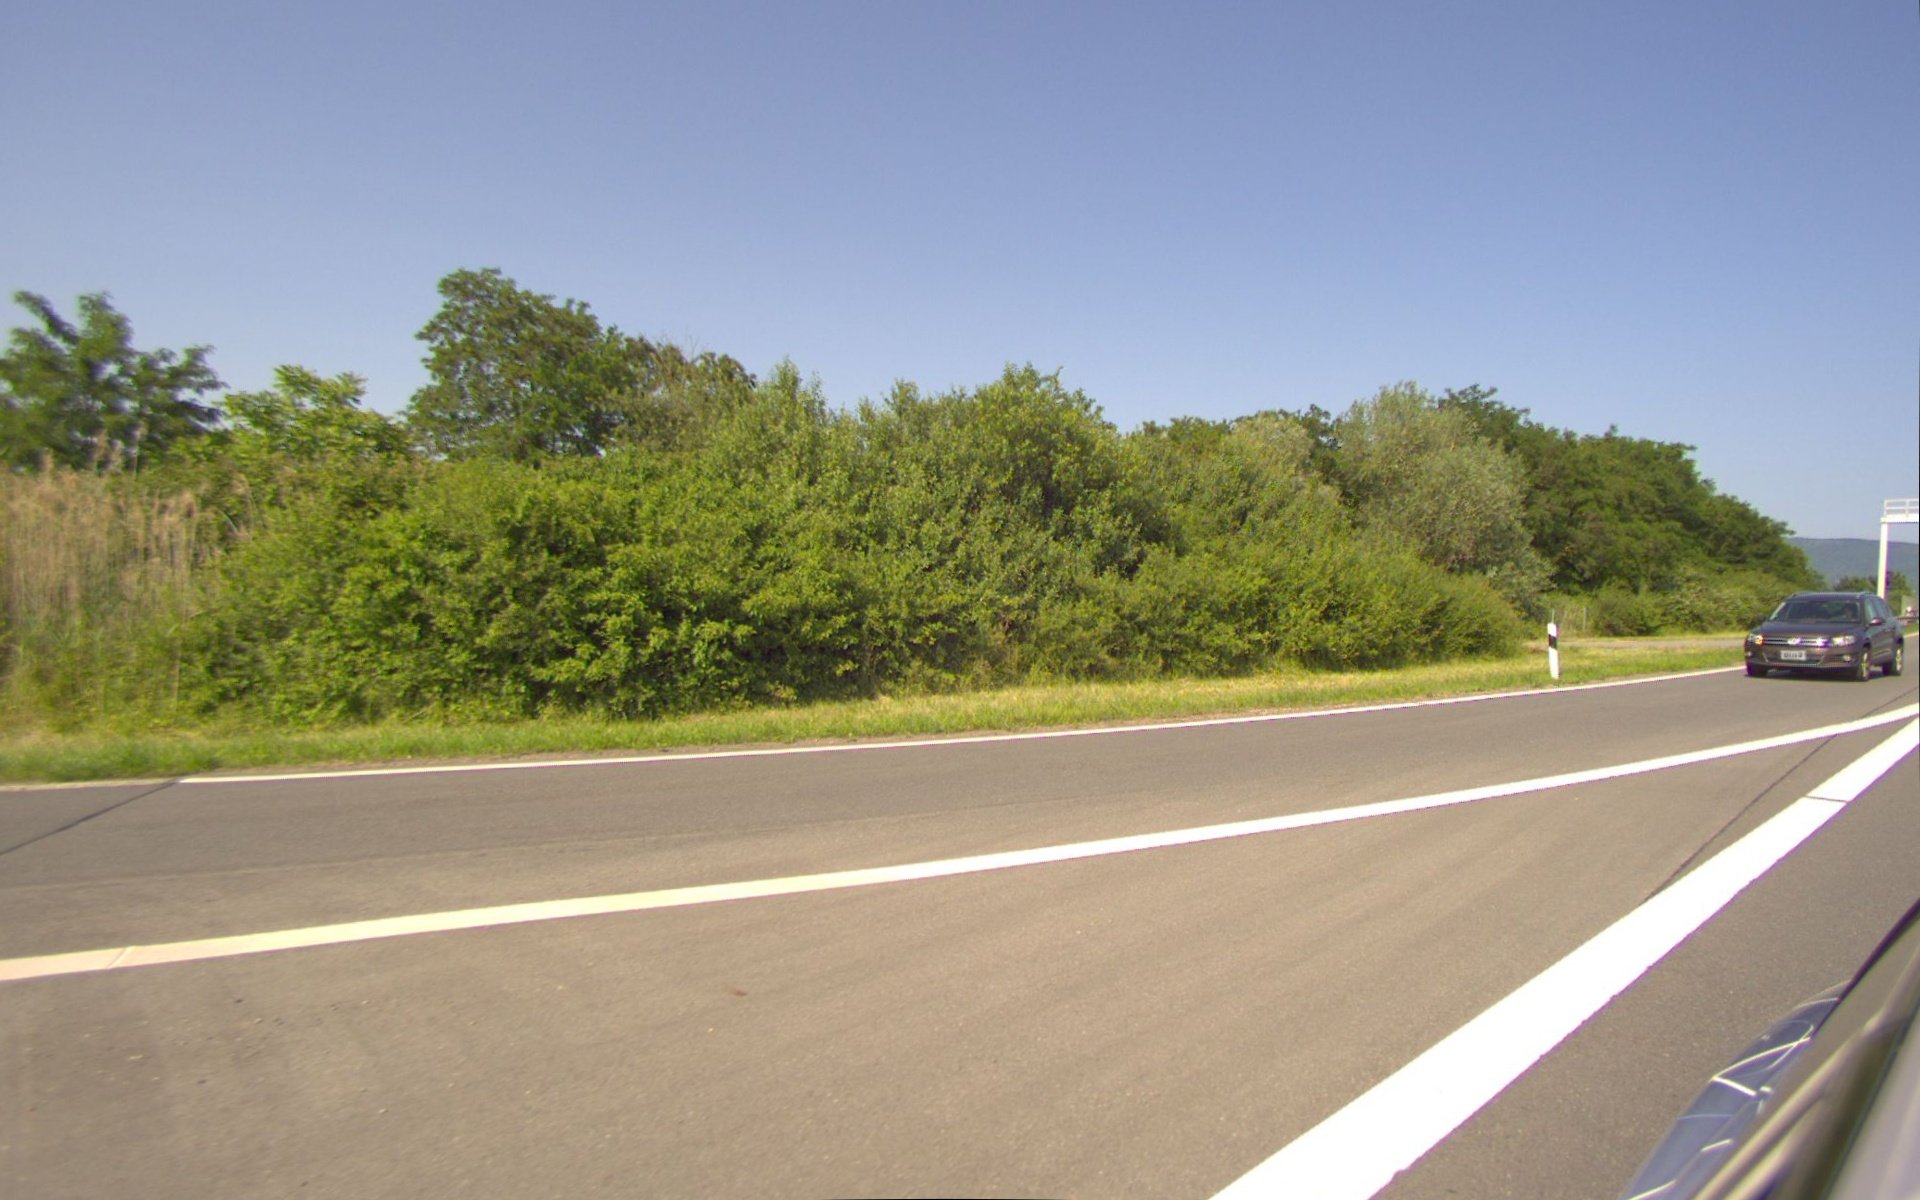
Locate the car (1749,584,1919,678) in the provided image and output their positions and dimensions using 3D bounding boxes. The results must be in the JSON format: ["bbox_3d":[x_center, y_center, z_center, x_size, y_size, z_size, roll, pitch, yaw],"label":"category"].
[{"bbox_3d":[17.359,0.538,20.002,4.071,1.667,1.790,0,1,-37],"label":"car"}]
